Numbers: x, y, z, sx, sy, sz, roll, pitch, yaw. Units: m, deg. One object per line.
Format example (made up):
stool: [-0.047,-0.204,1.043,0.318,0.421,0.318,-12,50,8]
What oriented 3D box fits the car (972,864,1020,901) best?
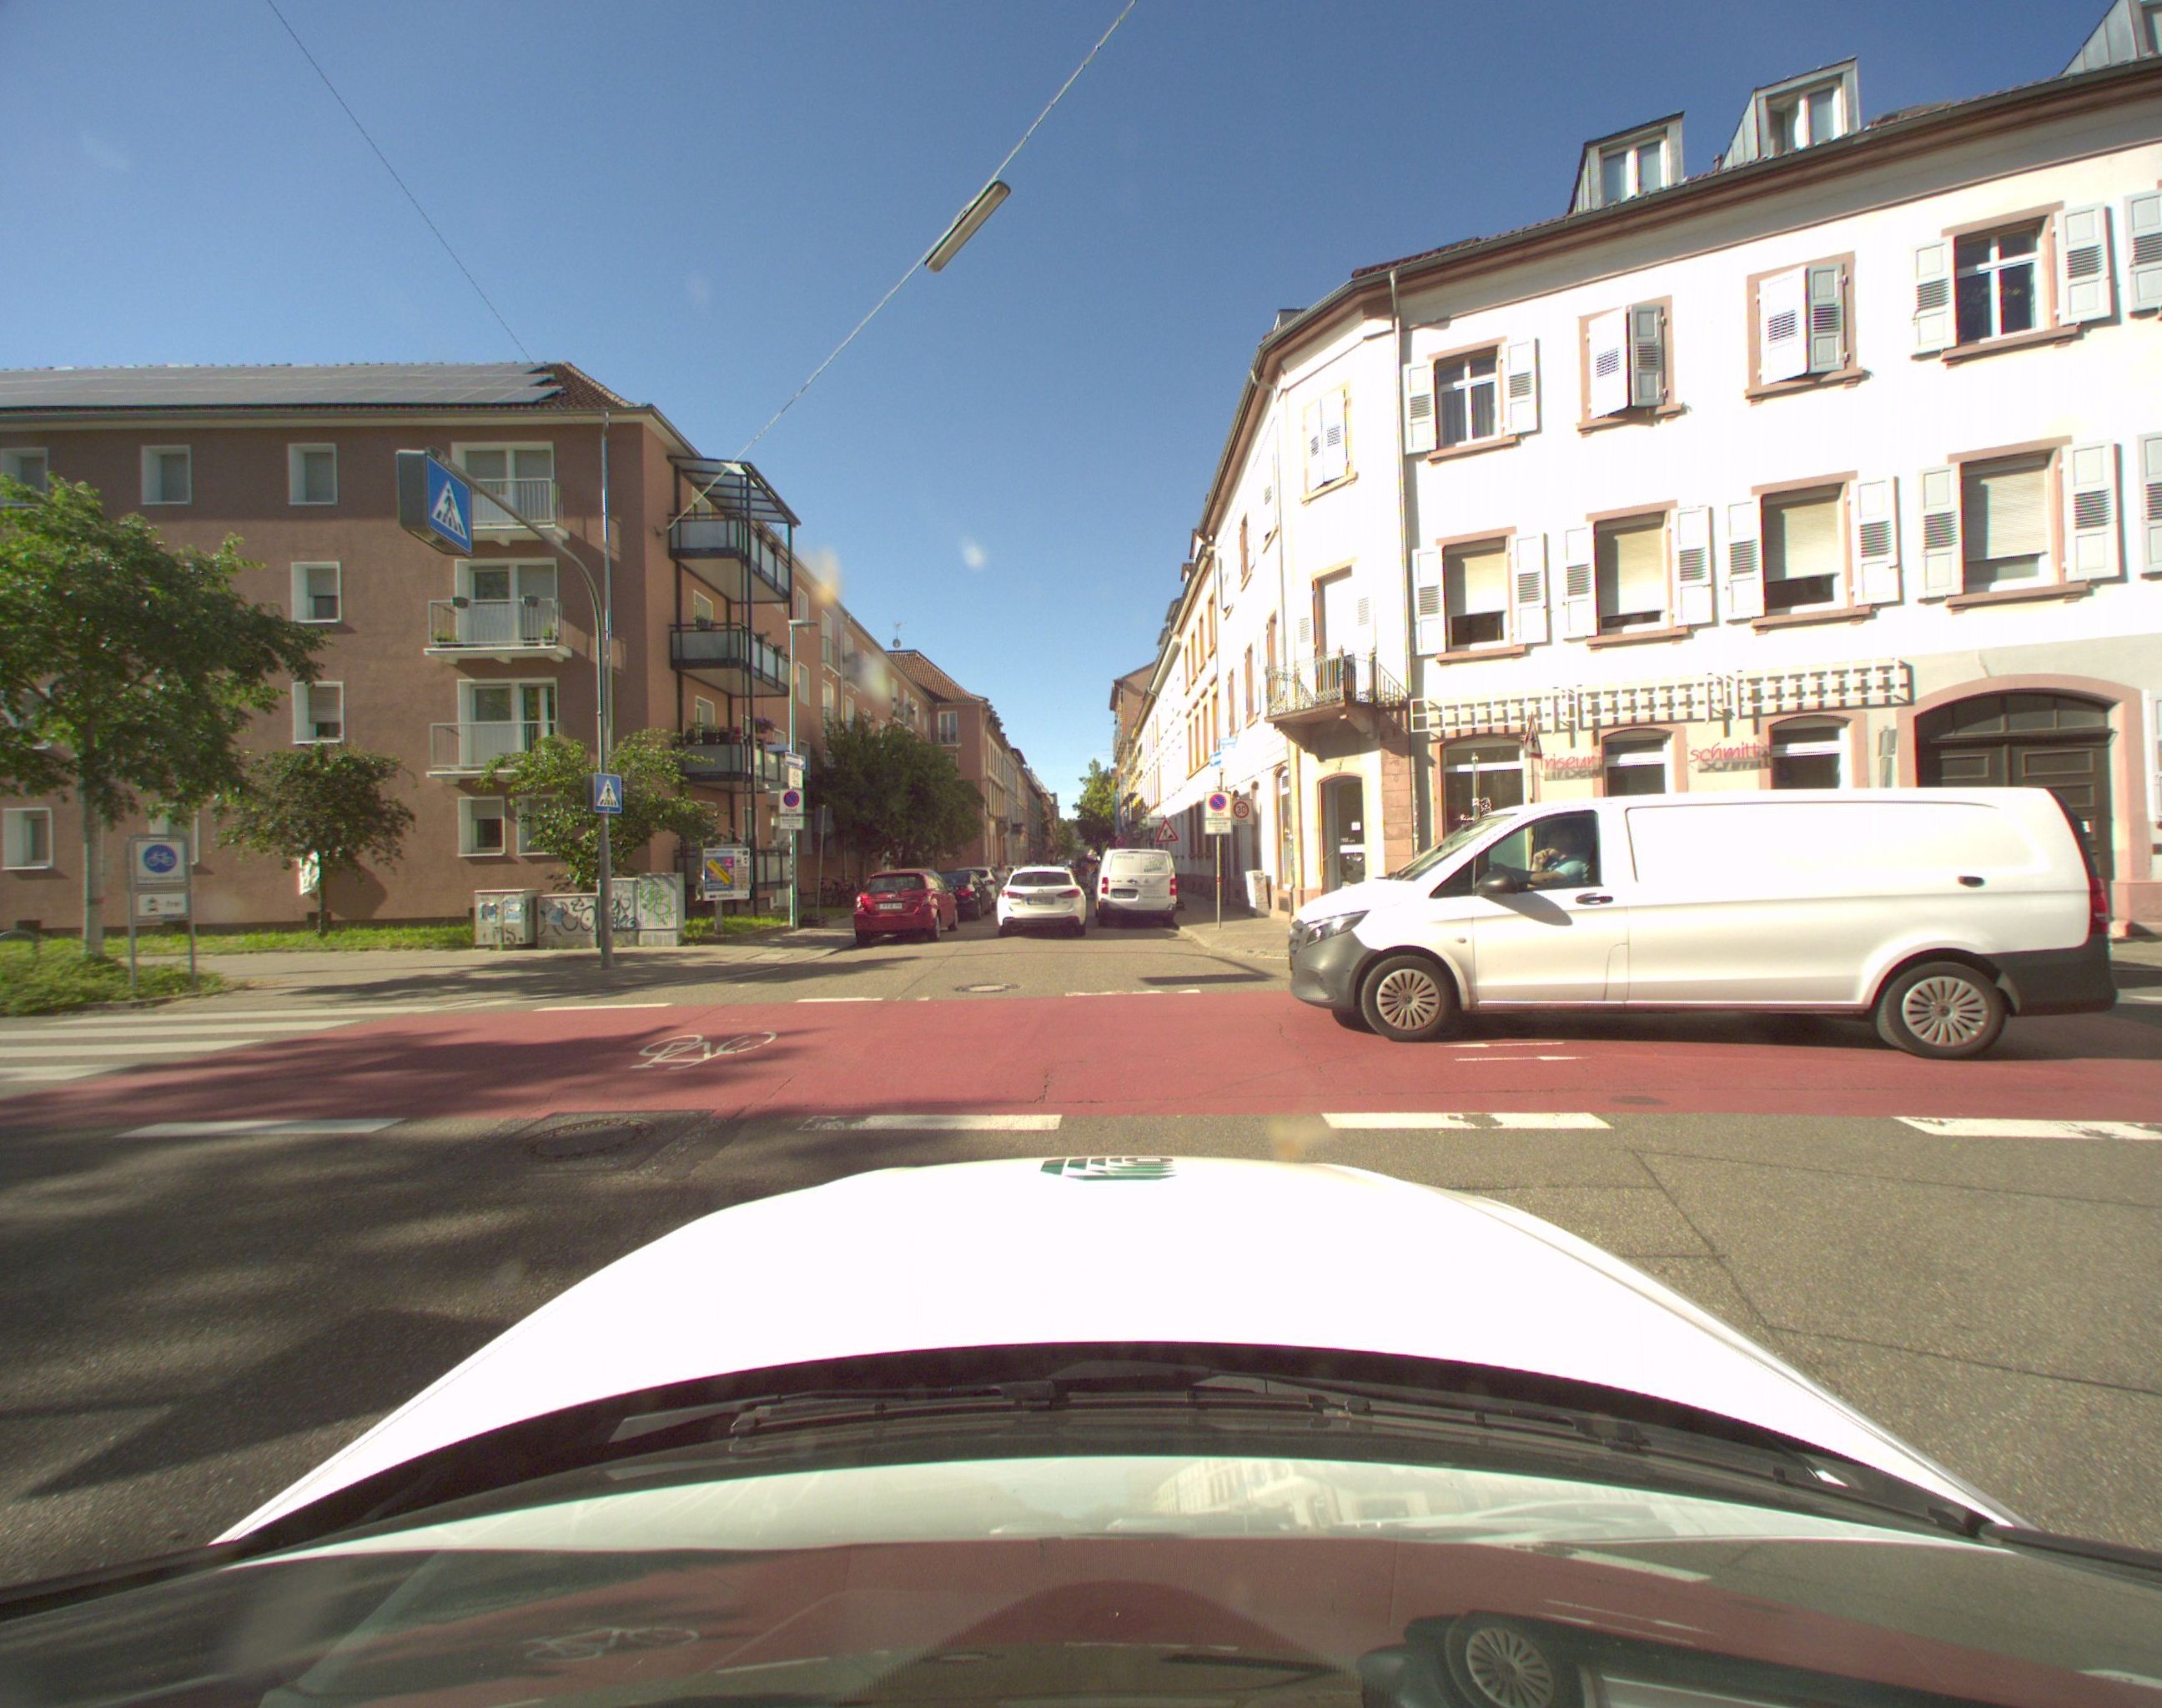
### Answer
car: [-3.724,1.206,36.149,1.647,1.500,3.763,-1,-1,1]

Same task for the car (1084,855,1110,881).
car: [1.232,1.076,62.726,1.888,1.859,3.995,-1,-1,1]

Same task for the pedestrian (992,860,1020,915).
pedestrian: [-2.303,1.007,24.858,0.733,1.614,0.813,-2,-1,-11]

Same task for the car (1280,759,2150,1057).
car: [4.462,0.412,6.859,5.368,1.907,2.115,-1,-1,13]

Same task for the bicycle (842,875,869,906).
bicycle: [-8.115,1.313,29.282,1.204,1.071,0.255,-2,-1,40]

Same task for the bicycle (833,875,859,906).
bicycle: [-8.434,1.314,29.176,1.201,1.071,0.255,-2,-1,40]

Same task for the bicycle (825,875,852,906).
bicycle: [-8.634,1.307,28.959,1.201,1.071,0.255,-2,-1,40]

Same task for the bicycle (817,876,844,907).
bicycle: [-8.833,1.314,28.714,1.201,1.072,0.268,-2,-1,40]

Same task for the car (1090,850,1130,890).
car: [1.432,0.778,40.725,1.888,1.859,3.995,-1,-1,1]

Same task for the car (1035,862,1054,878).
car: [-3.598,1.574,81.369,1.647,1.500,3.763,-1,-1,1]

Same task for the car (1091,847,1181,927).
car: [1.318,0.791,21.524,1.889,1.859,5.011,1,-1,-1]

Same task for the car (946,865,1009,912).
car: [-3.606,1.173,29.010,1.647,1.500,3.763,-1,-1,1]

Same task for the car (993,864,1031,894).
car: [-3.734,1.338,44.501,1.647,1.500,3.763,-1,-1,1]

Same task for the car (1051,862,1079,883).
car: [-1.109,1.309,58.608,1.754,1.410,4.328,-1,-1,1]

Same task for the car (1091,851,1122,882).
car: [1.640,0.796,52.947,1.888,1.859,3.995,-3,-1,1]

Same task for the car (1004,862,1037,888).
car: [-3.722,1.274,50.304,1.647,1.500,3.763,-1,-1,1]

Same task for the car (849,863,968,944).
car: [-3.676,1.005,18.017,1.679,1.500,3.807,-3,-1,1]

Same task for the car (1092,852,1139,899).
car: [1.481,0.898,35.418,1.888,1.859,3.995,-1,-1,1]

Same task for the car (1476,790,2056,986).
car: [7.692,0.399,9.917,4.967,1.946,2.061,-2,-1,20]

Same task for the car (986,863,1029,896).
car: [-3.582,1.207,40.288,1.647,1.500,3.763,-1,-1,1]

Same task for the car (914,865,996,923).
car: [-3.577,1.090,23.866,1.647,1.500,4.080,-1,-1,1]

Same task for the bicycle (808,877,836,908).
bicycle: [-9.055,1.342,28.436,1.201,1.035,0.293,-2,-1,40]

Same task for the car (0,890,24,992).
car: [-17.514,1.301,10.988,4.129,1.454,1.745,-2,-1,-1]

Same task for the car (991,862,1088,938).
car: [-0.799,0.947,17.976,1.824,1.457,3.962,-1,-1,1]

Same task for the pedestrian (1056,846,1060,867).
pedestrian: [-2.233,0.214,77.563,0.366,2.014,0.216,0,-2,1]
